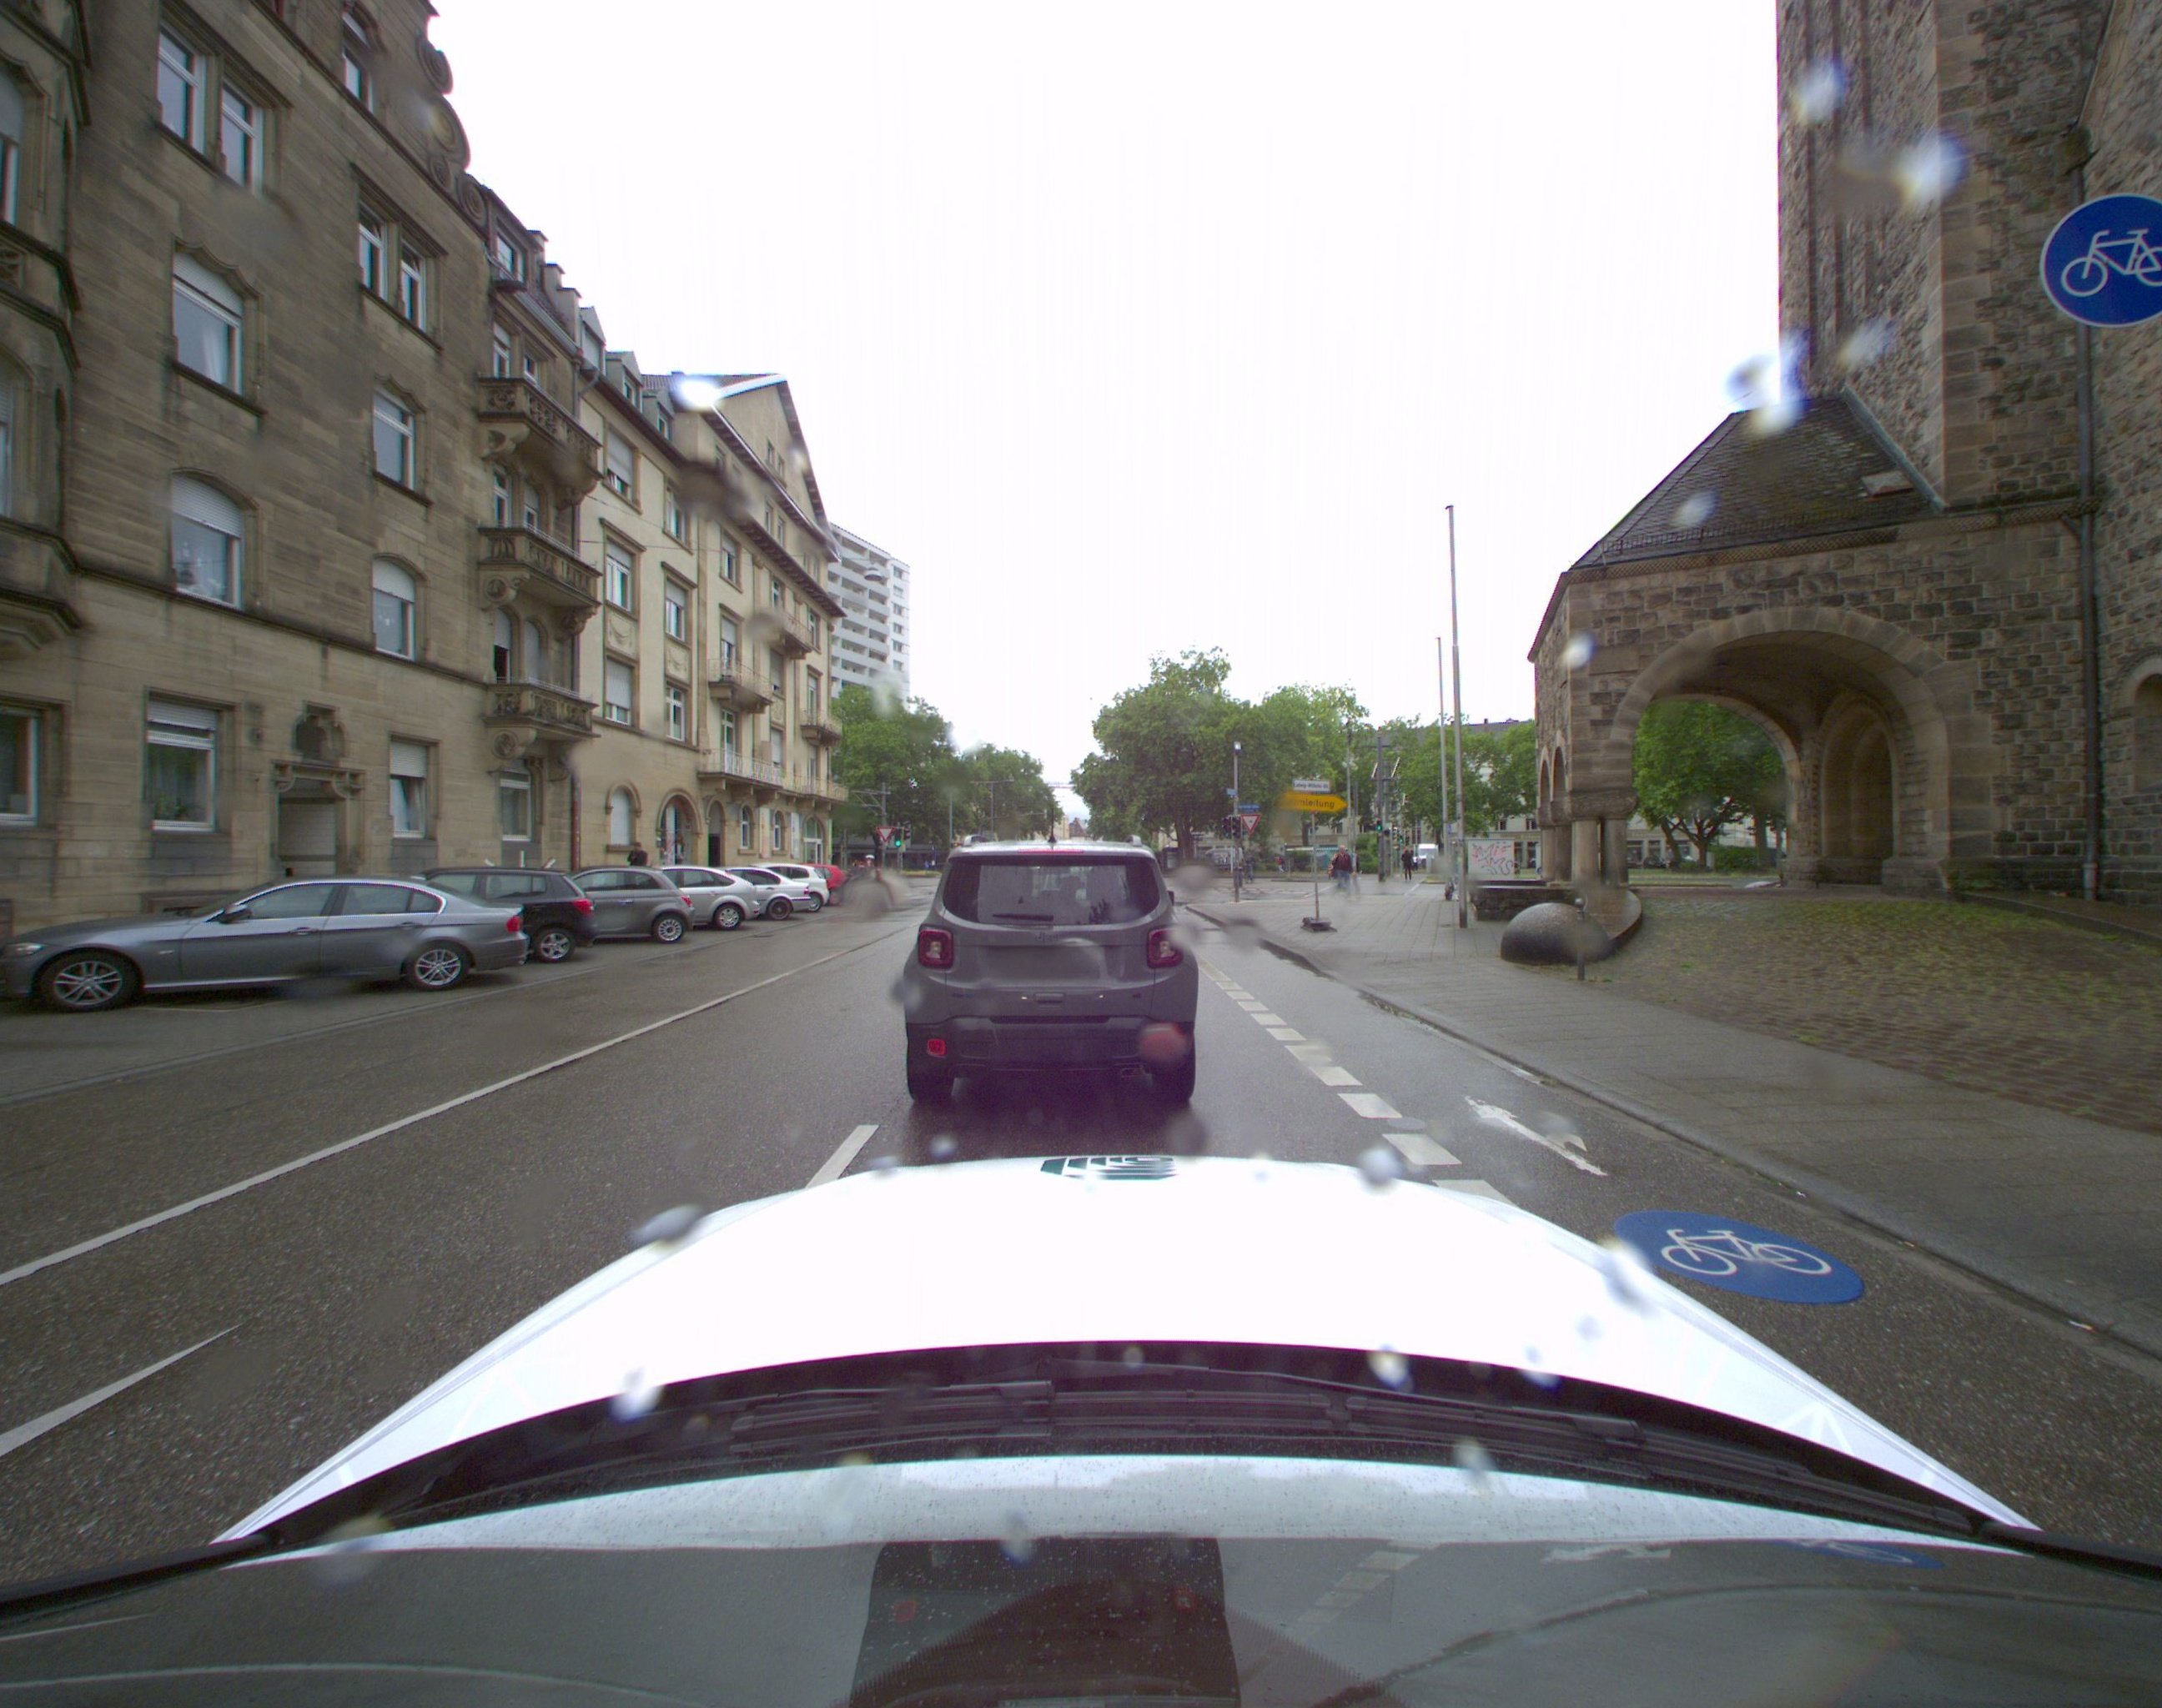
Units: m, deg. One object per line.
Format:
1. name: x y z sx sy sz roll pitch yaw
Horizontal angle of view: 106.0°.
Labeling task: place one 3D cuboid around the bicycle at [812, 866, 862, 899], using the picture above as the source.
1. bicycle: -9.655 1.126 32.264 1.805 1.266 0.498 -1 -1 -1

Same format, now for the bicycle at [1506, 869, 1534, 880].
1. bicycle: 30.757 1.429 57.048 1.683 0.719 0.656 -1 -1 22

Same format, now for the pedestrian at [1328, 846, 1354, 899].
1. pedestrian: 8.867 0.616 27.760 0.780 1.759 0.949 -2 -1 16

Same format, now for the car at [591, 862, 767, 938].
1. car: -9.355 0.997 19.025 3.419 1.558 1.686 0 -1 -38

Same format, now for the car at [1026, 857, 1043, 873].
1. car: -4.965 1.172 87.173 1.810 1.670 3.916 -1 0 -3

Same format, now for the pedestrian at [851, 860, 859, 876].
1. pedestrian: -22.168 1.358 79.821 0.438 1.530 0.647 -1 -1 27

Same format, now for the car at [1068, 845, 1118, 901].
1. car: 0.461 0.691 31.195 1.764 2.014 4.001 -1 0 1

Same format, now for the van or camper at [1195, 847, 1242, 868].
1. van or camper: 15.842 0.404 94.008 5.234 2.315 2.093 0 0 5

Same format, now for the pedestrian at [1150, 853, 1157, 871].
1. pedestrian: 8.189 0.900 91.885 0.646 2.014 0.484 -1 -1 13

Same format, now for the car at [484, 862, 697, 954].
1. car: -9.560 0.968 15.951 3.419 1.558 1.634 0 -1 -38

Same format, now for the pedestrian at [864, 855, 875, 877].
1. pedestrian: -17.888 0.989 68.913 0.614 1.826 0.697 -1 -1 15

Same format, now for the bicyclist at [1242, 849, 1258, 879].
1. bicyclist: 9.272 0.553 44.649 0.681 1.617 0.888 -2 -1 21

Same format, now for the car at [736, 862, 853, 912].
1. car: -9.790 1.083 27.910 3.419 1.558 1.686 0 -1 -38

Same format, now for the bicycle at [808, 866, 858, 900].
1. bicycle: -9.651 1.131 31.717 1.758 1.266 0.522 -1 -1 -1

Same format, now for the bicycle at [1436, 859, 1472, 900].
1. bicycle: 10.992 0.738 24.055 0.327 1.154 2.079 -1 0 7

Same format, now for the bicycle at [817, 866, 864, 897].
1. bicycle: -10.035 1.134 33.983 1.758 1.266 0.608 -1 -1 -1

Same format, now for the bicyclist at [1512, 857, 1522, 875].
1. bicyclist: 30.603 0.825 57.155 0.518 1.250 0.656 -1 -1 23

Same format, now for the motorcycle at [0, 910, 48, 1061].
1. motorcycle: -9.436 1.027 6.148 1.880 1.162 0.627 2 -2 -36

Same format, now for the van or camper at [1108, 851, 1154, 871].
1. van or camper: 7.678 1.032 124.444 6.465 2.912 2.509 -1 -1 28

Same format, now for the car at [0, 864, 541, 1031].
1. car: -9.443 0.931 9.924 4.573 1.545 1.668 -1 -1 -42

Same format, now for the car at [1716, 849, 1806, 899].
1. car: 21.398 0.600 25.743 1.389 1.479 3.239 -1 0 25

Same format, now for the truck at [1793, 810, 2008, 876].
1. truck: 46.509 -0.538 46.578 8.334 3.524 2.390 -1 -1 25

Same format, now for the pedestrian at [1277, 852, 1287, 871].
1. pedestrian: 16.933 0.649 68.658 0.667 1.554 0.766 -1 -2 29

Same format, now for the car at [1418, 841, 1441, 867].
1. car: 35.393 0.004 82.636 1.889 2.555 4.814 -1 -1 25

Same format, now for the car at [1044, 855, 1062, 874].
1. car: -2.711 0.975 78.277 1.717 1.739 3.726 -1 0 -2

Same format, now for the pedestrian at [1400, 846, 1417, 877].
1. pedestrian: 17.367 0.399 43.155 0.775 1.645 0.659 -2 -1 25

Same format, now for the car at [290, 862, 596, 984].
1. car: -9.750 0.950 12.727 3.571 1.598 1.587 0 -1 -38

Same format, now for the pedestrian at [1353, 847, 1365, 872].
1. pedestrian: 22.535 0.445 65.915 0.798 2.014 0.593 -1 -1 28

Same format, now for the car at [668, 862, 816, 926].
1. car: -9.227 1.036 22.229 3.419 1.558 1.686 0 -1 -38

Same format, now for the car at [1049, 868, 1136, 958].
1. car: 0.221 0.964 14.603 1.358 1.376 3.313 -1 0 1

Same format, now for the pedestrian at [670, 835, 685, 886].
1. pedestrian: -14.497 0.234 29.265 0.365 1.823 0.347 -1 -1 -1

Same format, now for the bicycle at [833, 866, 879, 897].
1. bicycle: -9.629 1.176 34.856 1.758 1.266 0.608 -1 -1 -1

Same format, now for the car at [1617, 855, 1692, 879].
1. car: 35.804 0.814 50.949 3.528 1.387 1.638 -1 0 23

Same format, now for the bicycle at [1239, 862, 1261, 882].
1. bicycle: 9.294 0.985 44.689 0.686 1.021 2.672 -2 0 21

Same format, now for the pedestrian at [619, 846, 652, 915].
1. pedestrian: -13.196 0.770 24.135 0.565 2.014 0.655 -1 -1 1

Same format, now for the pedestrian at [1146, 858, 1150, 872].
1. pedestrian: 8.472 1.405 102.597 0.456 1.704 0.424 -1 -1 2

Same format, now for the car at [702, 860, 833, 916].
1. car: -9.623 0.985 25.058 3.419 1.558 1.686 0 -1 -38

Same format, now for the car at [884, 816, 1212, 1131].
1. car: -0.160 0.666 6.429 1.769 1.687 3.848 -2 0 1

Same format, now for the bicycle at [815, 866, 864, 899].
1. bicycle: -9.766 1.140 32.950 1.805 1.266 0.498 -1 -1 -1
